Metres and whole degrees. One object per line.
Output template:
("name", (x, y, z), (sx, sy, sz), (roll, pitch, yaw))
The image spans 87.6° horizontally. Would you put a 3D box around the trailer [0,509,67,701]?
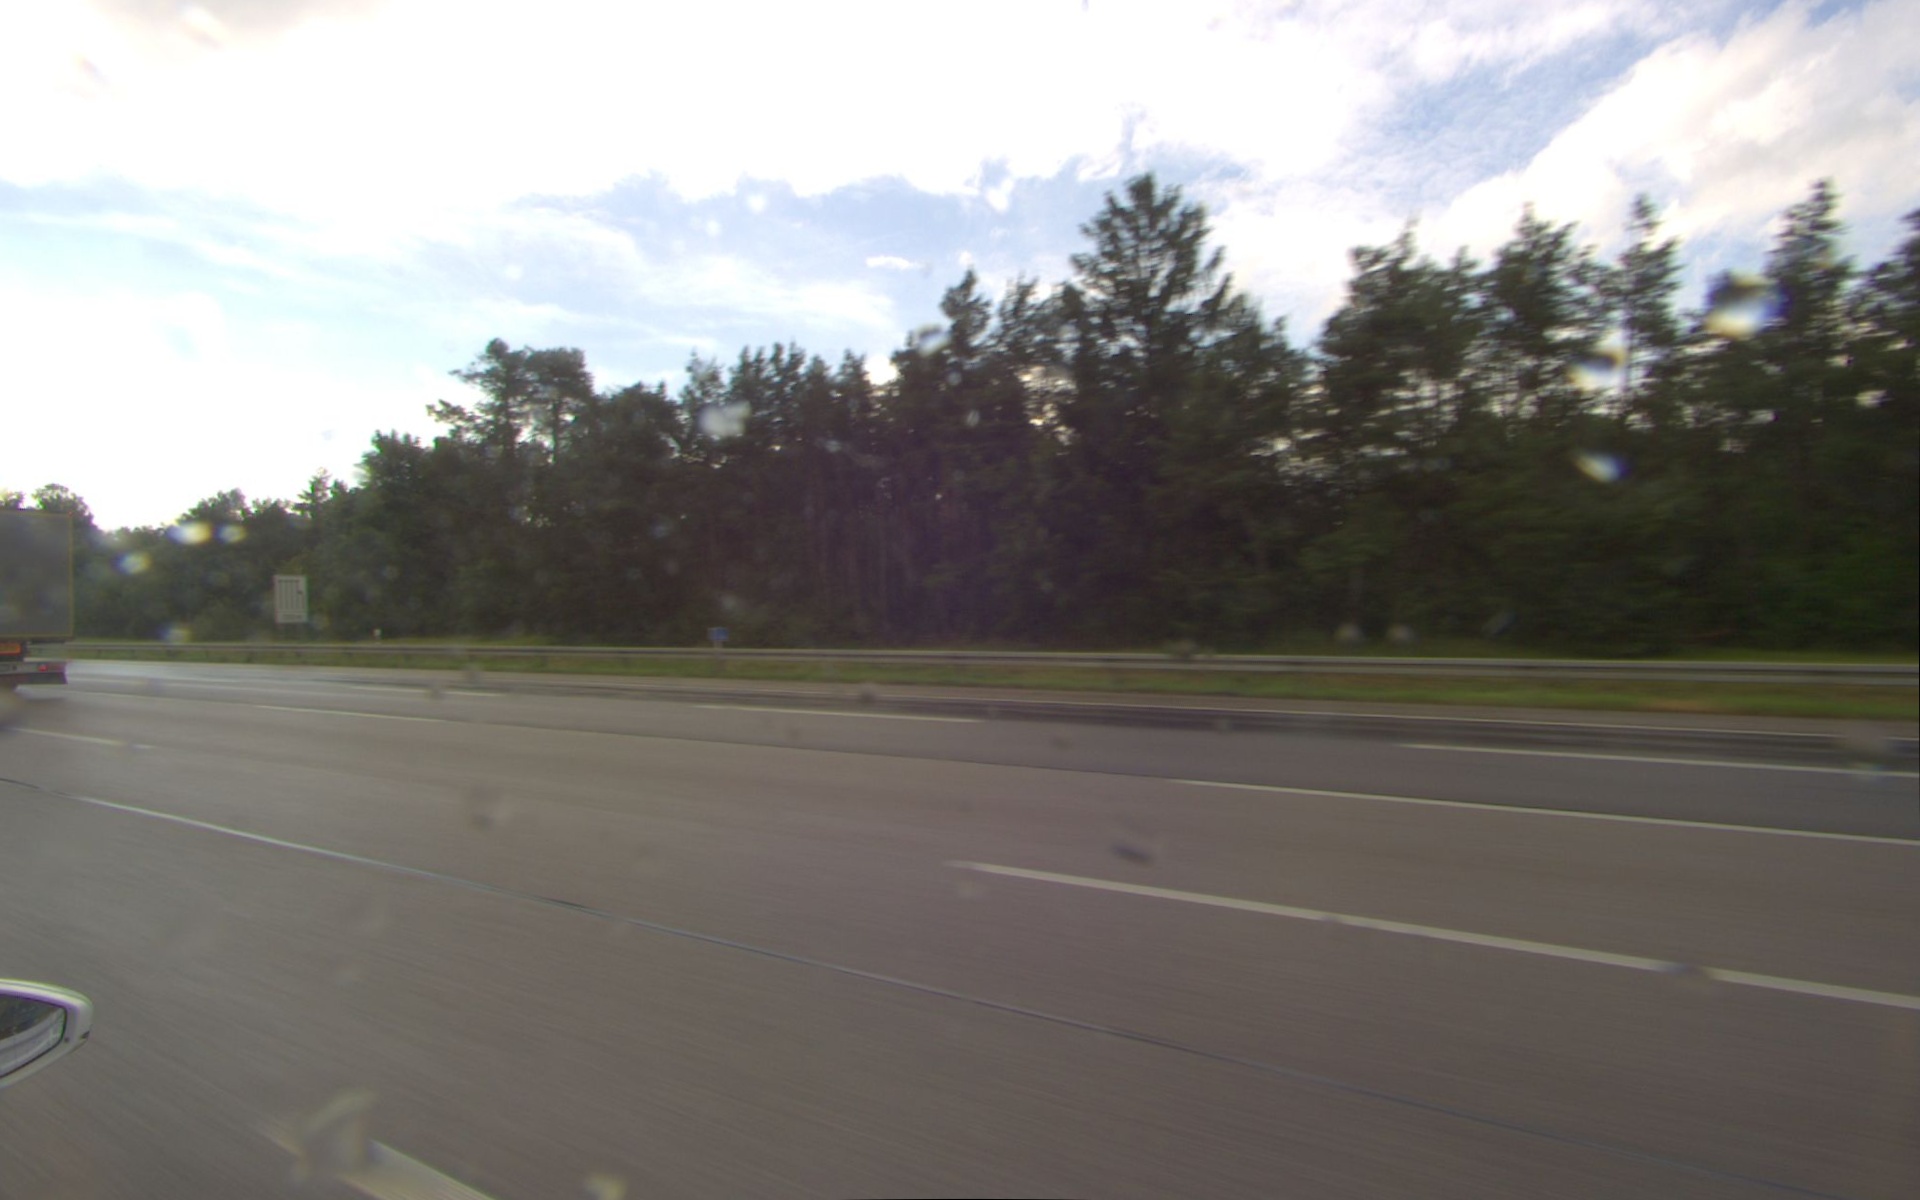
("trailer", (-25.911, 0.210, 24.520), (13.216, 4.053, 2.320), (-1, -1, 31))
